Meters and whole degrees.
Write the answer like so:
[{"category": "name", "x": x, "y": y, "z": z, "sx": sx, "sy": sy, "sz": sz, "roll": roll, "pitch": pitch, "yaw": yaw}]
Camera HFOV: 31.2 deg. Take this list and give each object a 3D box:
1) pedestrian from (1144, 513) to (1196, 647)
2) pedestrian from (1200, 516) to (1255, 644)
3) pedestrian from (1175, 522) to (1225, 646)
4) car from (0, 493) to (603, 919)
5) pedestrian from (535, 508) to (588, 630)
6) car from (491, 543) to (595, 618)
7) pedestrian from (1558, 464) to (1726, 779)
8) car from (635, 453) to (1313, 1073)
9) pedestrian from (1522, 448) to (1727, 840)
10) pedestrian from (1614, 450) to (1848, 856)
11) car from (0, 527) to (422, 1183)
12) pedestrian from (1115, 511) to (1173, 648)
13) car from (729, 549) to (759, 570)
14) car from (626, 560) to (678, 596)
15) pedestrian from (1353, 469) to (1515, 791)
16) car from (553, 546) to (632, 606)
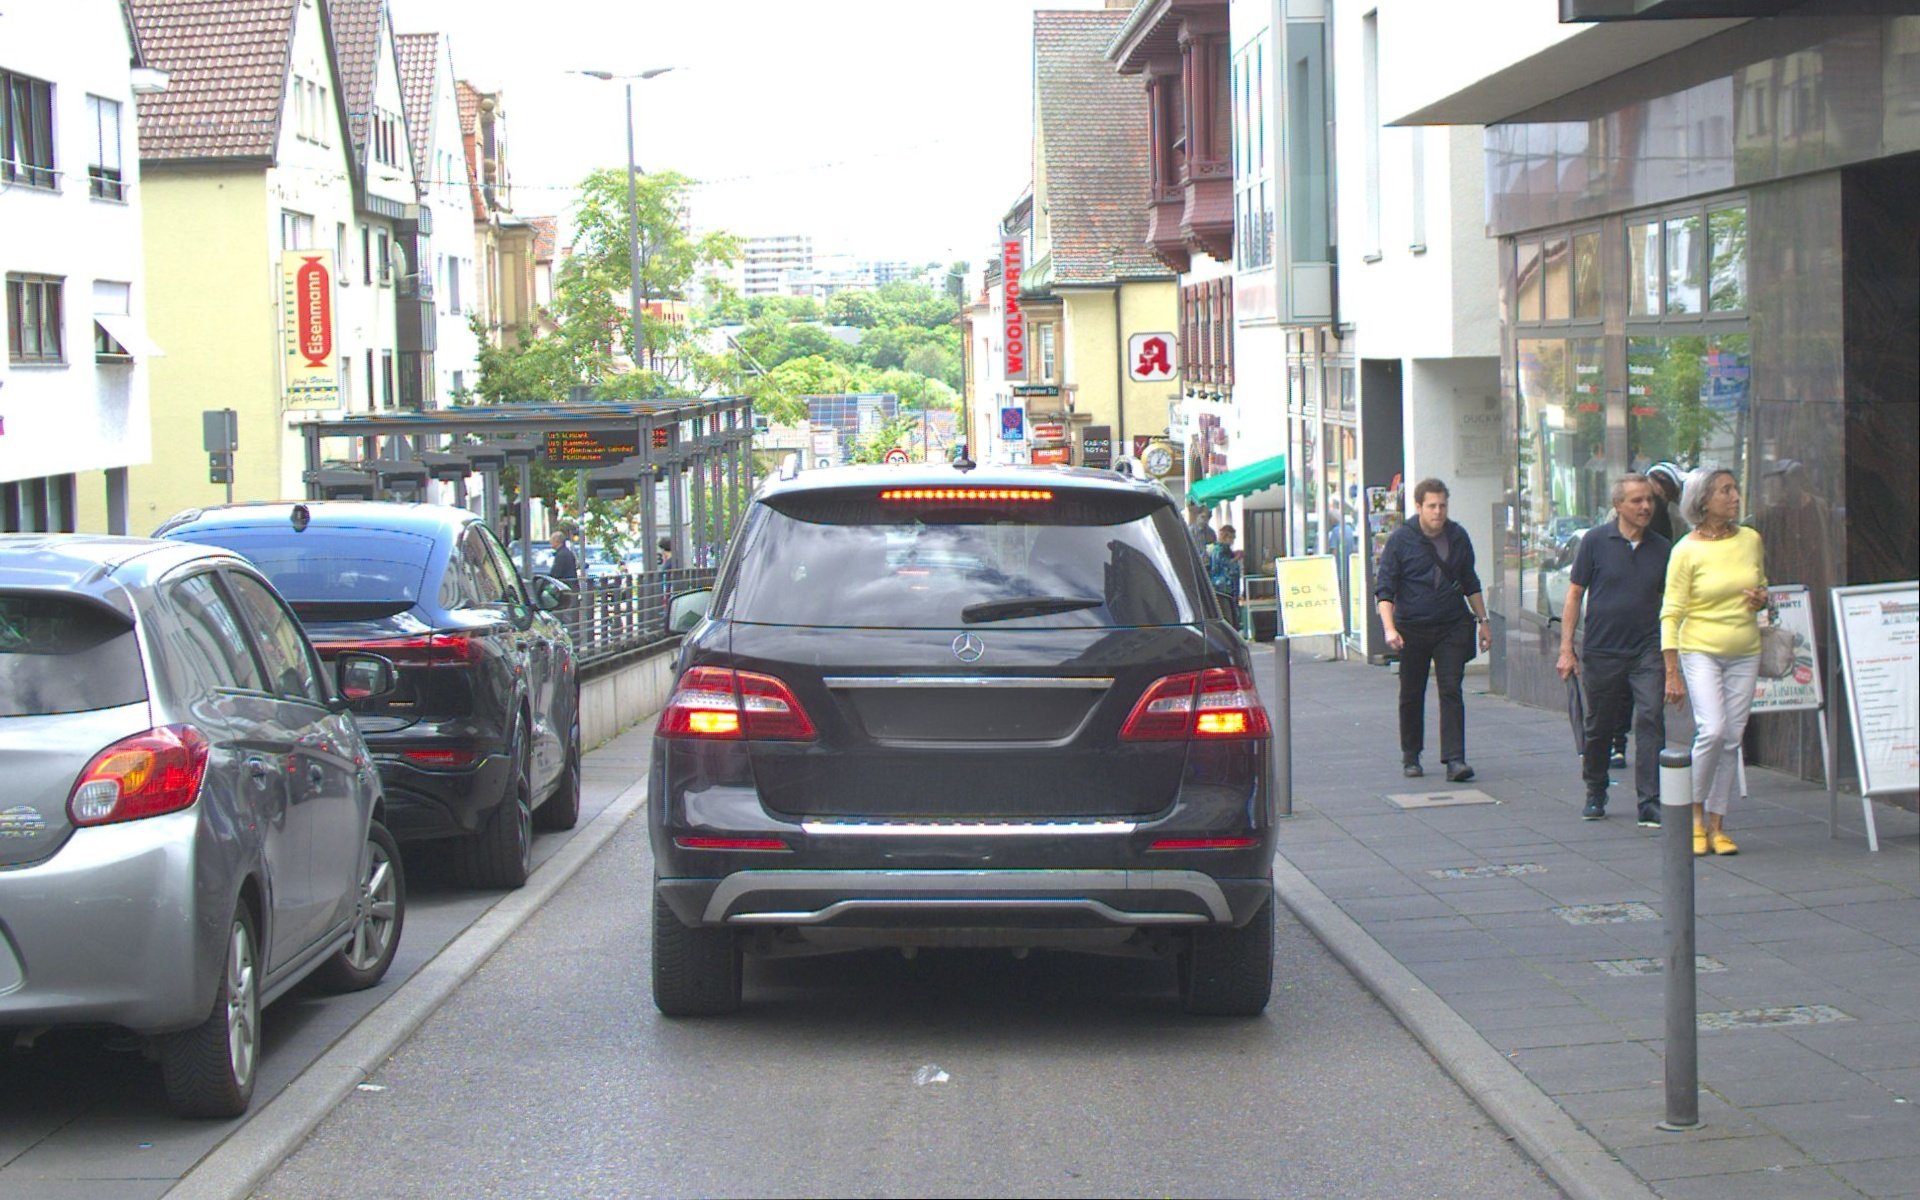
[{"category": "pedestrian", "x": 2.741, "y": -0.264, "z": 44.826, "sx": 0.542, "sy": 1.720, "sz": 0.528, "roll": -2, "pitch": 1, "yaw": -7}, {"category": "pedestrian", "x": 3.592, "y": -0.276, "z": 46.199, "sx": 0.573, "sy": 1.683, "sz": 0.566, "roll": -3, "pitch": 1, "yaw": -7}, {"category": "pedestrian", "x": 3.289, "y": -0.227, "z": 47.111, "sx": 0.573, "sy": 1.683, "sz": 0.566, "roll": 1, "pitch": 1, "yaw": -7}, {"category": "car", "x": -2.774, "y": 0.377, "z": 15.432, "sx": 1.956, "sy": 1.634, "sz": 4.315, "roll": 0, "pitch": 1, "yaw": -1}, {"category": "pedestrian", "x": -5.566, "y": -0.431, "z": 48.042, "sx": 0.612, "sy": 1.683, "sz": 0.563, "roll": 1, "pitch": 1, "yaw": 7}, {"category": "car", "x": -8.643, "y": -0.423, "z": 71.520, "sx": 1.689, "sy": 1.485, "sz": 3.979, "roll": 1, "pitch": 1, "yaw": -1}, {"category": "pedestrian", "x": 3.799, "y": 0.112, "z": 19.168, "sx": 0.662, "sy": 1.683, "sz": 0.543, "roll": -5, "pitch": 1, "yaw": -7}, {"category": "car", "x": -0.047, "y": 0.433, "z": 11.717, "sx": 1.900, "sy": 1.741, "sz": 4.001, "roll": 1, "pitch": 1, "yaw": -3}, {"category": "pedestrian", "x": 3.083, "y": 0.191, "z": 16.011, "sx": 0.711, "sy": 1.747, "sz": 0.785, "roll": -3, "pitch": 1, "yaw": -1}, {"category": "pedestrian", "x": 3.229, "y": 0.210, "z": 14.461, "sx": 0.711, "sy": 1.625, "sz": 0.835, "roll": -3, "pitch": 1, "yaw": -1}, {"category": "car", "x": -2.613, "y": 0.562, "z": 9.832, "sx": 1.620, "sy": 1.527, "sz": 3.670, "roll": 0, "pitch": 1, "yaw": -1}, {"category": "pedestrian", "x": 2.282, "y": -0.260, "z": 42.694, "sx": 0.621, "sy": 1.683, "sz": 0.566, "roll": 1, "pitch": 1, "yaw": -7}, {"category": "car", "x": -11.626, "y": -2.179, "z": 185.022, "sx": 1.388, "sy": 1.066, "sz": 3.113, "roll": -2, "pitch": 1, "yaw": 0}, {"category": "car", "x": -9.963, "y": -0.720, "z": 111.343, "sx": 1.388, "sy": 1.066, "sz": 3.113, "roll": -2, "pitch": 1, "yaw": 0}, {"category": "pedestrian", "x": 2.666, "y": 0.159, "z": 19.380, "sx": 0.711, "sy": 1.747, "sz": 0.787, "roll": -3, "pitch": 1, "yaw": -1}, {"category": "car", "x": -9.471, "y": -0.631, "z": 88.783, "sx": 1.660, "sy": 1.485, "sz": 3.748, "roll": 1, "pitch": 1, "yaw": -1}]
